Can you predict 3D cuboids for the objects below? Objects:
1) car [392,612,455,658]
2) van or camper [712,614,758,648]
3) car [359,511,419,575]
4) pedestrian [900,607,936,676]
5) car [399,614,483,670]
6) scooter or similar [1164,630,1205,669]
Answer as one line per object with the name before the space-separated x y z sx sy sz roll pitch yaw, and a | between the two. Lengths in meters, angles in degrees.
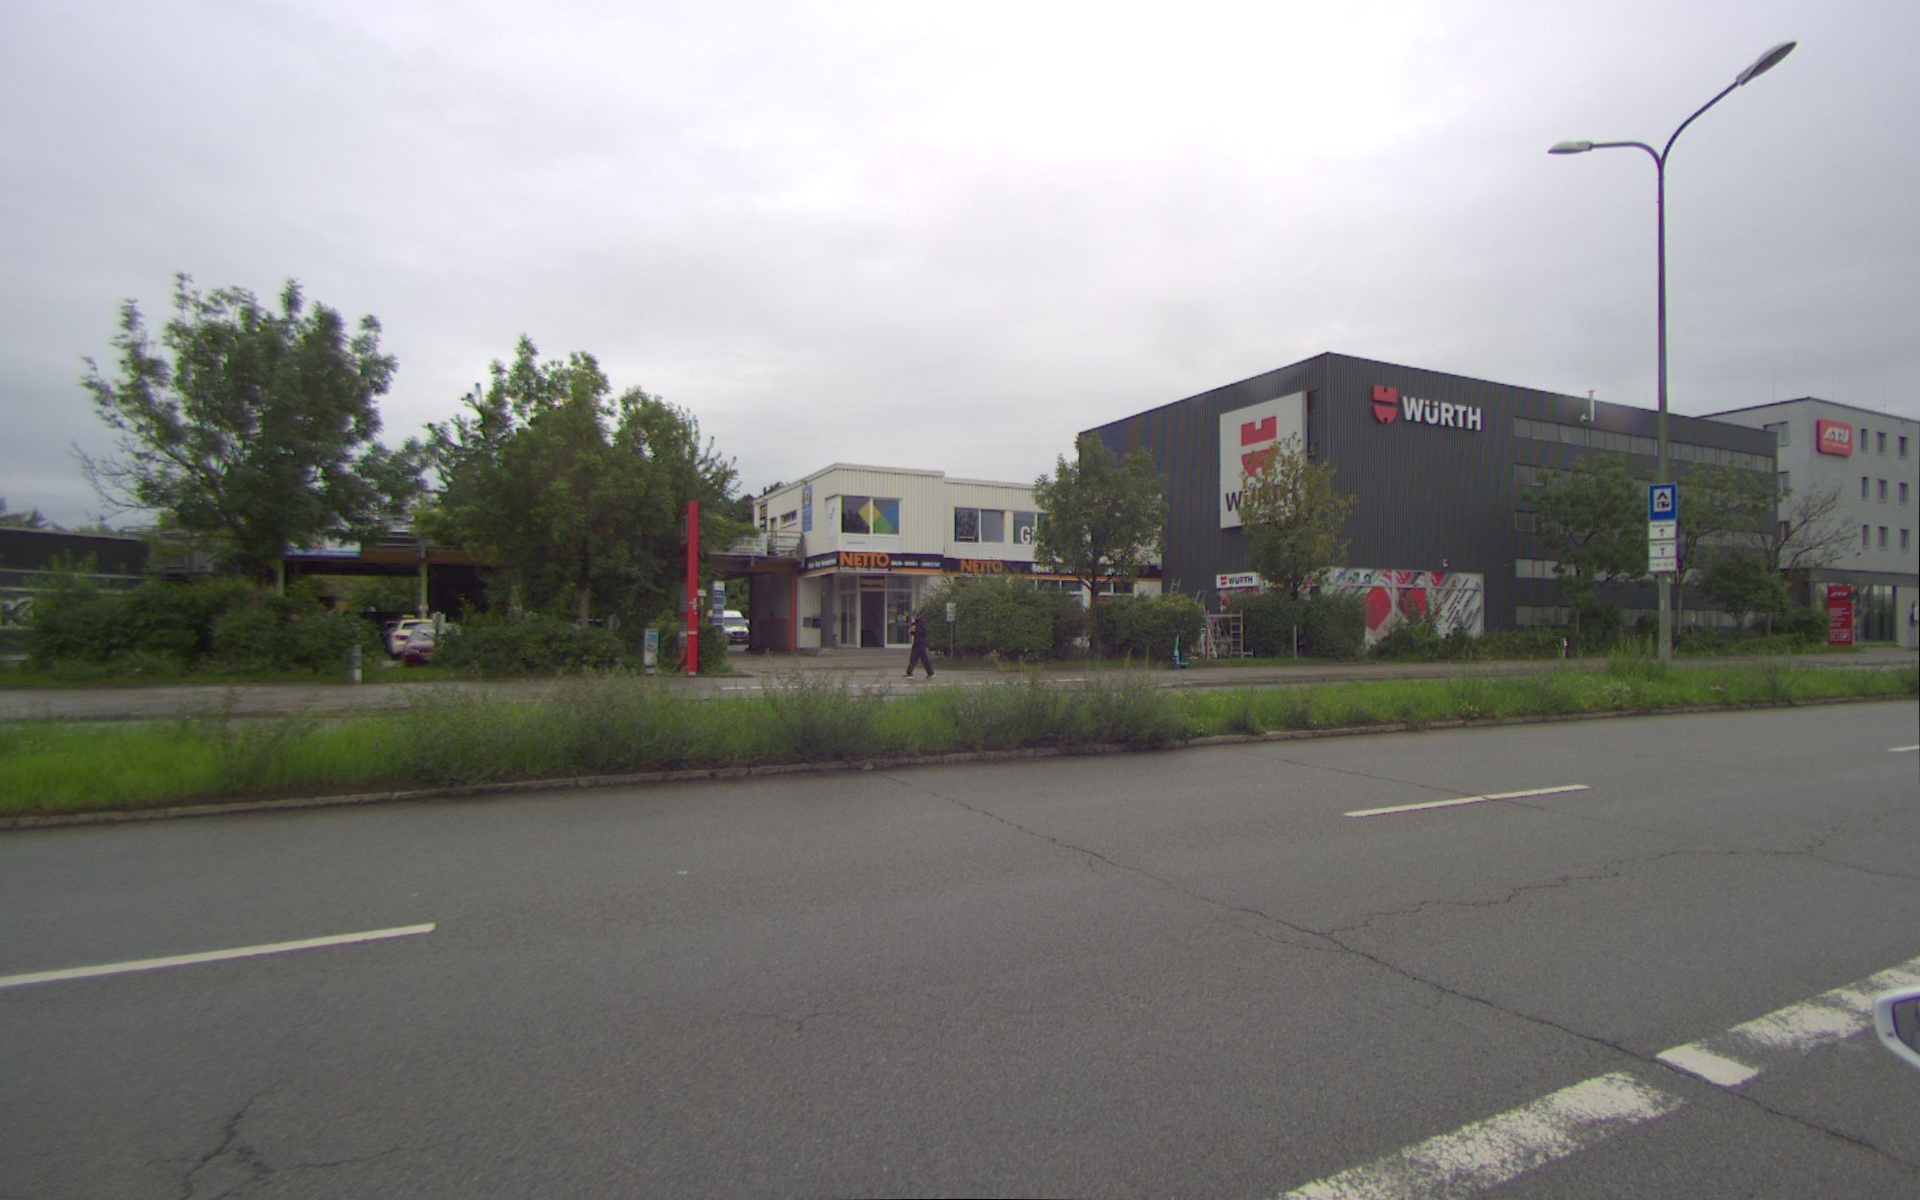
car | -19.821 1.267 37.183 1.885 1.585 3.971 3 -2 -28
van or camper | -17.776 2.405 79.151 1.978 2.609 4.982 1 -2 -32
car | -27.993 -2.709 49.363 2.107 2.399 4.769 4 -5 -26
pedestrian | -1.136 1.130 27.412 0.807 1.854 0.620 1 -1 -27
car | -14.546 1.153 28.034 1.849 1.439 3.967 1 -2 -31
scooter or similar | 7.264 1.594 32.472 1.370 1.243 0.443 1 -1 -29
